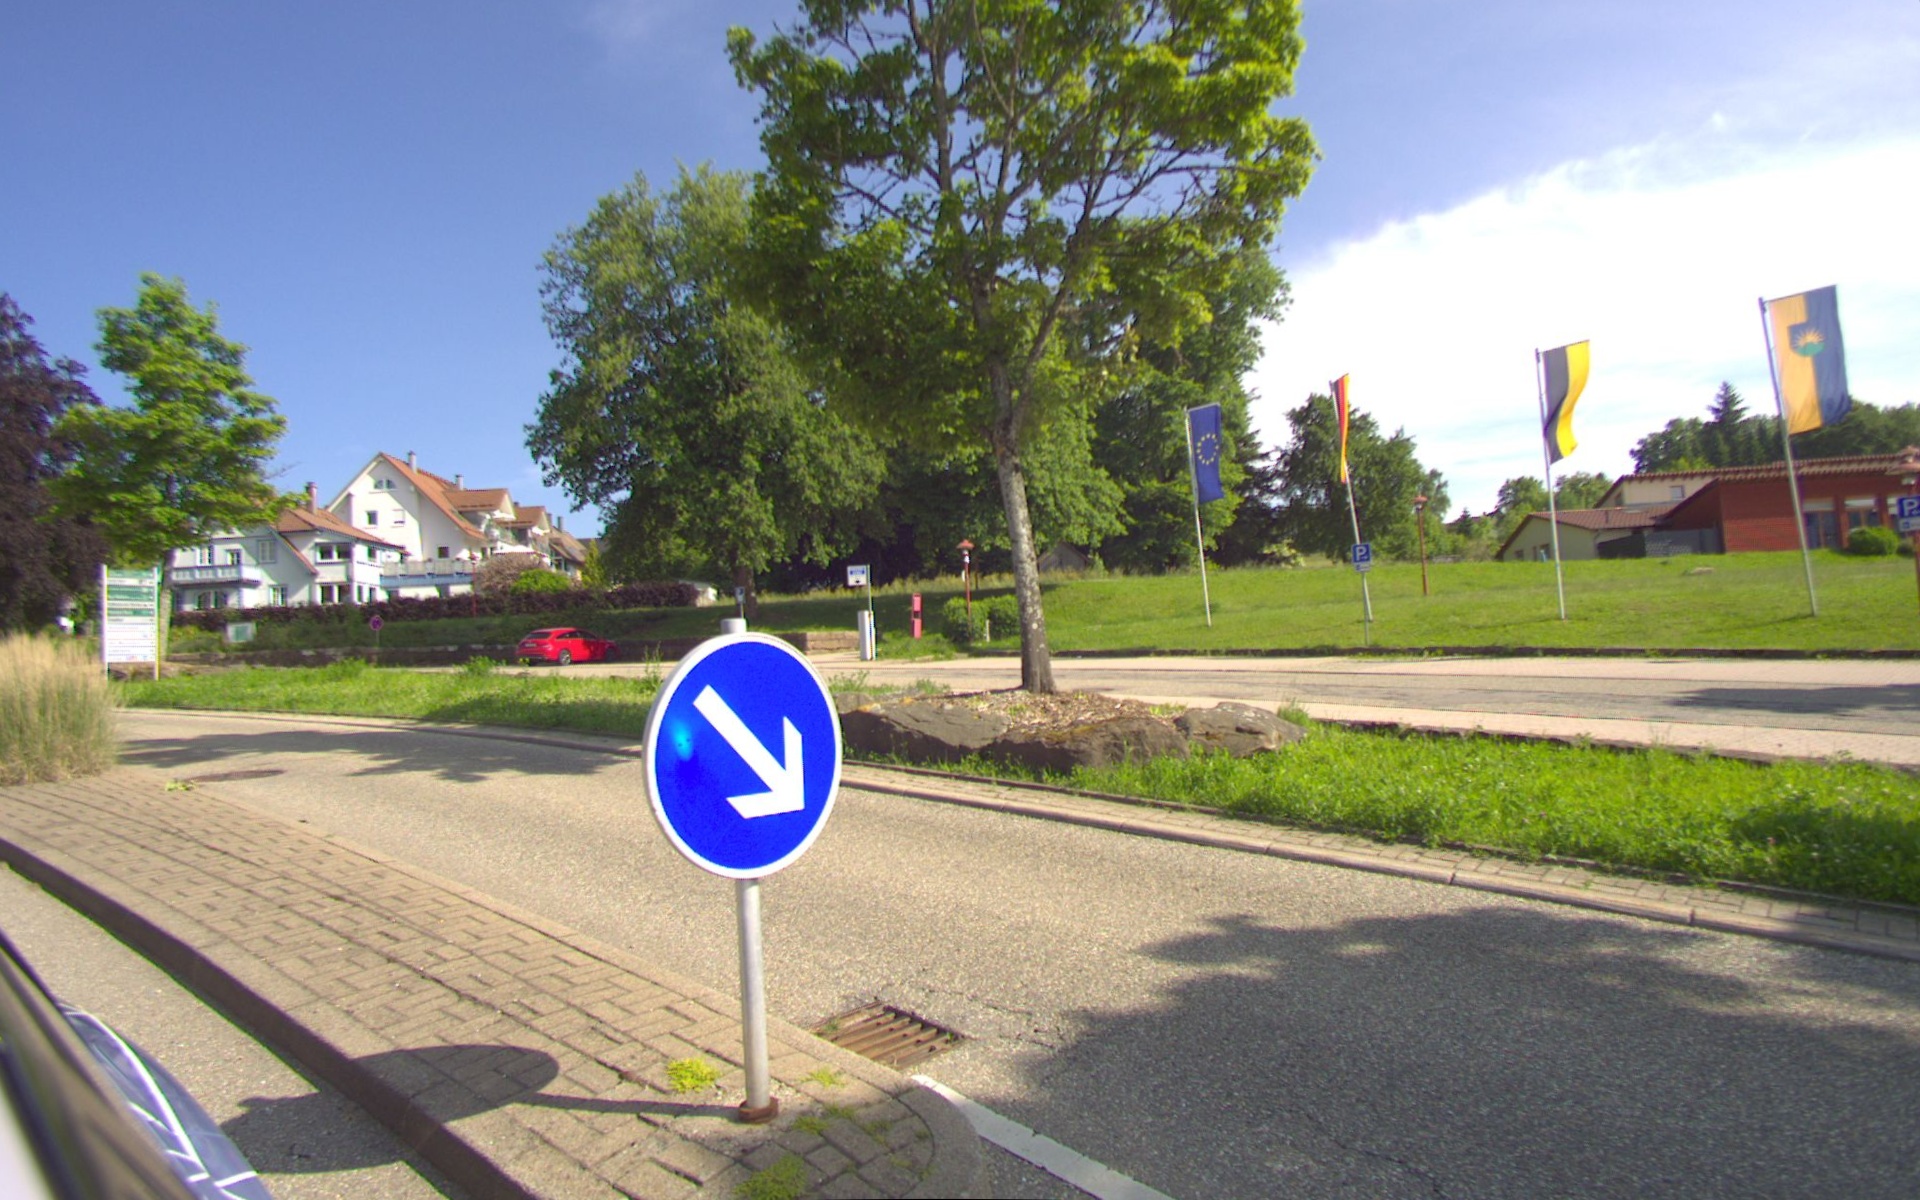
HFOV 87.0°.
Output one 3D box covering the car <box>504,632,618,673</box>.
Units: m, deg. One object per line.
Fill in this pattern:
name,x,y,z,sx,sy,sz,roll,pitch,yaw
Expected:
car,-15.448,2.012,39.438,1.809,1.409,4.212,-3,-2,19
